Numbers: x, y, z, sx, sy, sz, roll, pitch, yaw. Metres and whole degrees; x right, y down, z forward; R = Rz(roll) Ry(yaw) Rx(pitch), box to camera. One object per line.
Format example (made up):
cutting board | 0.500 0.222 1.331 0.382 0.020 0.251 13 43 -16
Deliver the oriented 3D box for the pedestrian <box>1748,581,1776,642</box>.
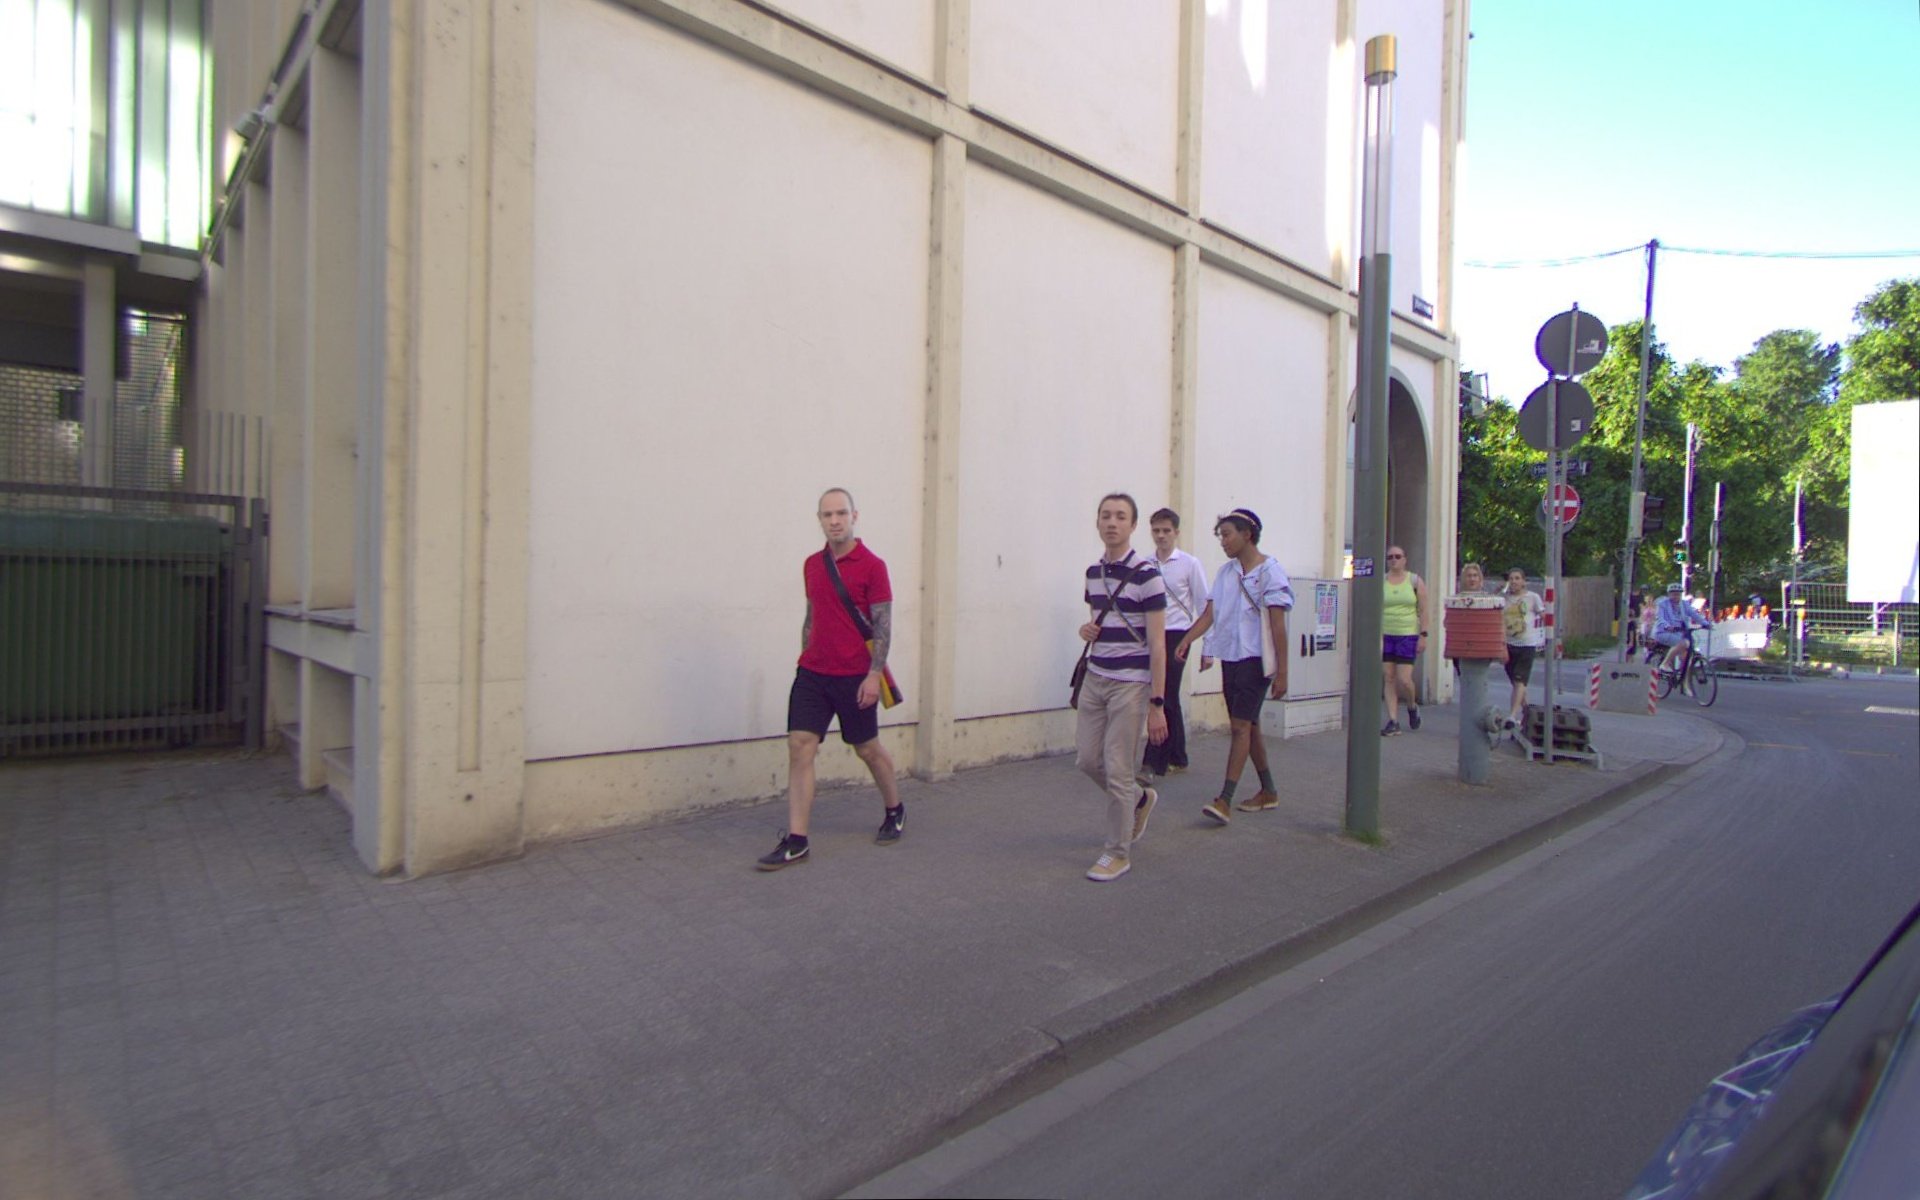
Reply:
pedestrian | 24.079 0.323 30.384 0.624 1.805 0.614 0 0 42

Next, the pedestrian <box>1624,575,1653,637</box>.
pedestrian | 19.774 0.168 29.492 0.624 1.805 0.614 0 0 42

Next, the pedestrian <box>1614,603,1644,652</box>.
pedestrian | 16.618 0.665 25.130 0.533 1.191 0.614 0 0 42

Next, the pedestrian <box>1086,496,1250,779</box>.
pedestrian | 1.424 0.225 6.966 0.681 1.799 0.685 1 6 -41

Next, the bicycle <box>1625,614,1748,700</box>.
bicycle | 10.669 0.793 14.969 0.586 1.097 2.302 0 1 12

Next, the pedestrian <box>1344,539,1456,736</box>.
pedestrian | 4.077 0.317 9.382 0.681 1.737 0.684 1 1 -41

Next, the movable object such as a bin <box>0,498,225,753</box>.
movable object such as a bin | -5.537 0.139 6.393 1.359 1.454 0.968 -1 0 -42

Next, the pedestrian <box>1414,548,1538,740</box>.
pedestrian | 4.768 0.376 9.359 0.681 1.656 0.685 1 5 -41

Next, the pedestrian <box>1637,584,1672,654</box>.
pedestrian | 16.748 0.437 24.394 0.624 1.662 0.614 0 0 42

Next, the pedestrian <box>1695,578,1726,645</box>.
pedestrian | 20.626 0.302 27.804 0.624 1.805 0.614 0 0 42

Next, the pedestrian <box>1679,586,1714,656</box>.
pedestrian | 17.435 0.488 23.959 0.624 1.634 0.614 0 0 42

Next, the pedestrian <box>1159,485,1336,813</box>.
pedestrian | 1.707 0.253 6.022 0.681 1.800 0.684 1 2 -41

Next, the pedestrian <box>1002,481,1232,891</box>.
pedestrian | 0.753 0.361 4.924 0.681 1.799 0.685 1 6 -41

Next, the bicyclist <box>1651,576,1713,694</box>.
bicyclist | 10.664 0.502 14.960 0.577 1.710 0.536 0 0 14

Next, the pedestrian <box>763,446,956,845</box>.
pedestrian | -0.505 0.185 4.999 0.583 1.800 0.685 1 4 -41

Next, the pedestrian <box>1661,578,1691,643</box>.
pedestrian | 20.413 0.291 28.844 0.624 1.805 0.614 0 0 42

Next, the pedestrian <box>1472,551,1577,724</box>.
pedestrian | 5.973 0.381 10.717 0.681 1.737 0.684 3 1 -41
